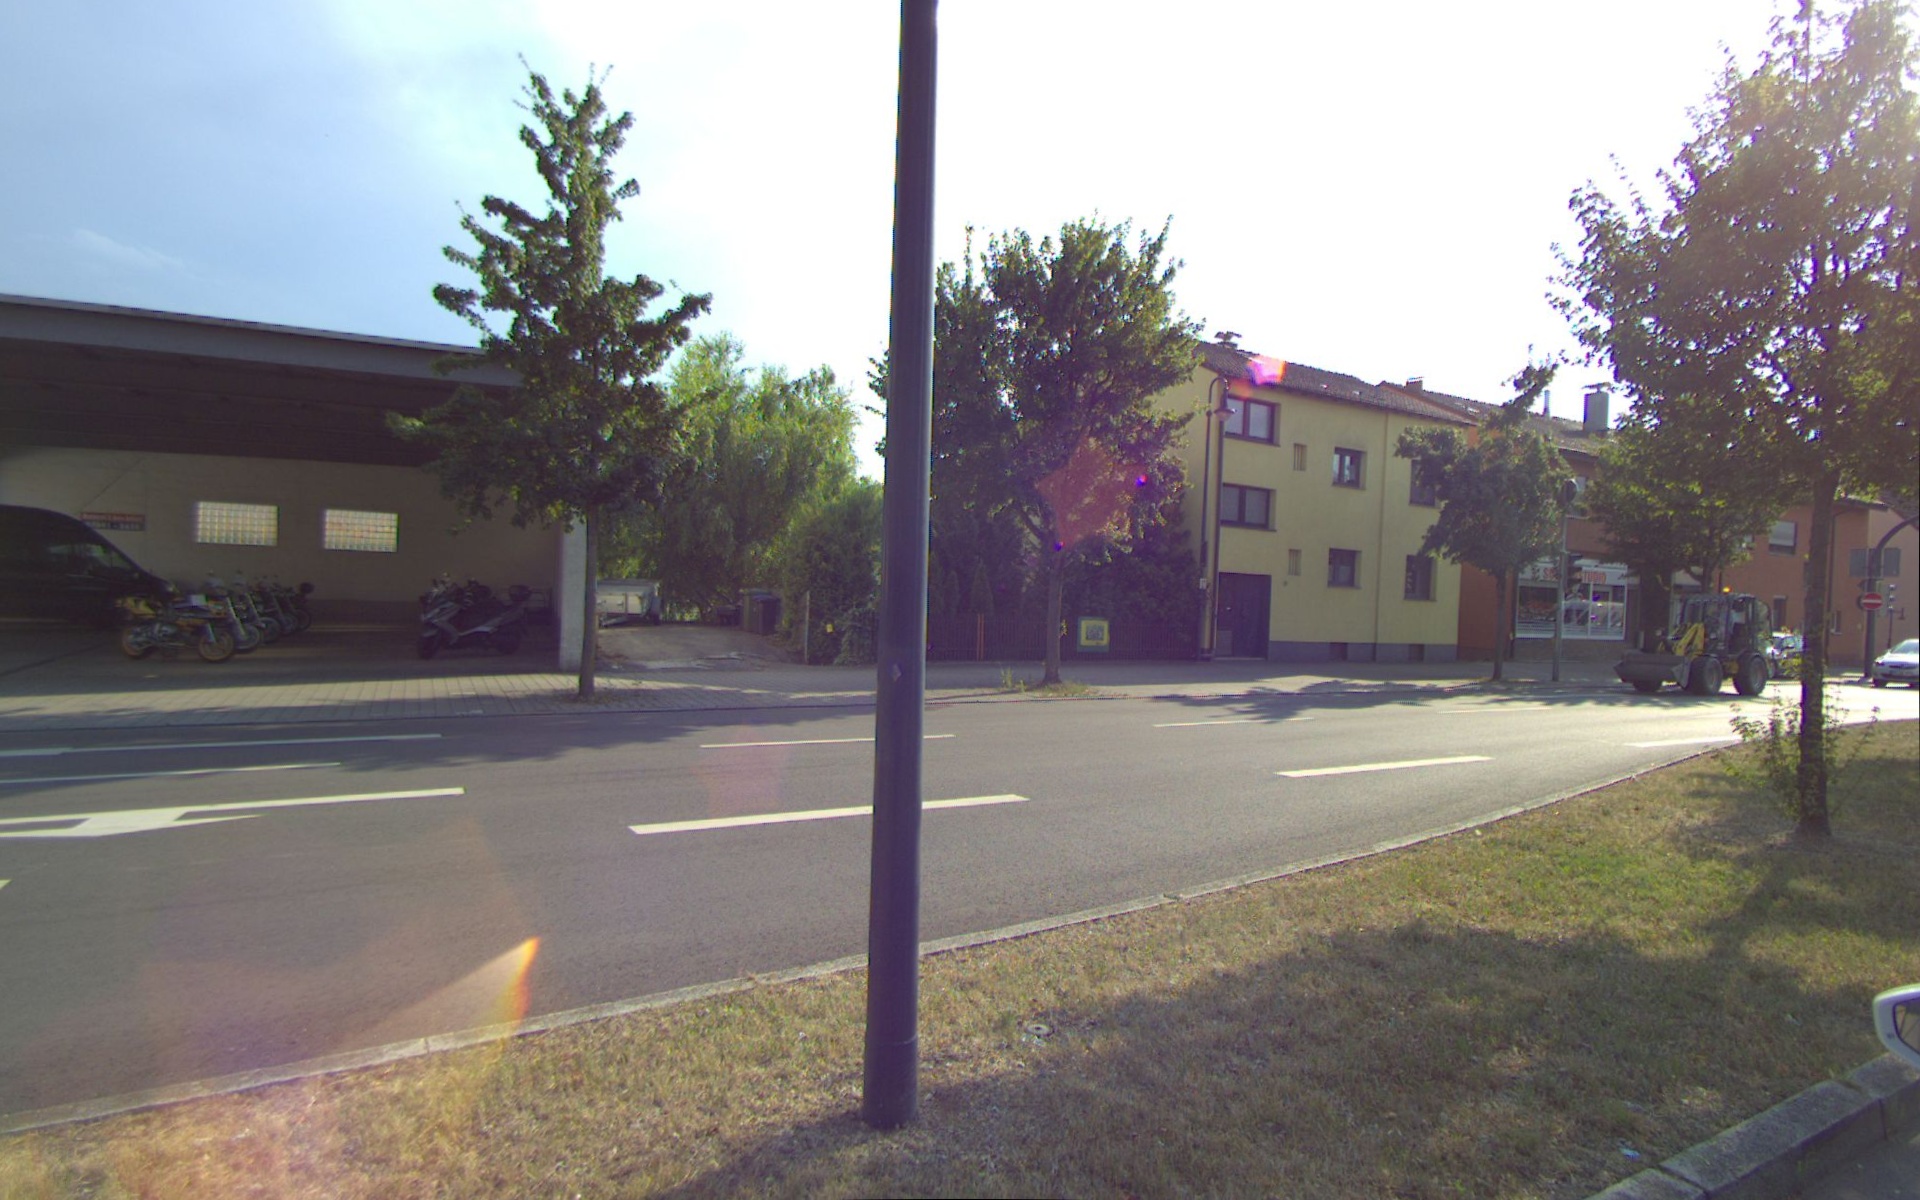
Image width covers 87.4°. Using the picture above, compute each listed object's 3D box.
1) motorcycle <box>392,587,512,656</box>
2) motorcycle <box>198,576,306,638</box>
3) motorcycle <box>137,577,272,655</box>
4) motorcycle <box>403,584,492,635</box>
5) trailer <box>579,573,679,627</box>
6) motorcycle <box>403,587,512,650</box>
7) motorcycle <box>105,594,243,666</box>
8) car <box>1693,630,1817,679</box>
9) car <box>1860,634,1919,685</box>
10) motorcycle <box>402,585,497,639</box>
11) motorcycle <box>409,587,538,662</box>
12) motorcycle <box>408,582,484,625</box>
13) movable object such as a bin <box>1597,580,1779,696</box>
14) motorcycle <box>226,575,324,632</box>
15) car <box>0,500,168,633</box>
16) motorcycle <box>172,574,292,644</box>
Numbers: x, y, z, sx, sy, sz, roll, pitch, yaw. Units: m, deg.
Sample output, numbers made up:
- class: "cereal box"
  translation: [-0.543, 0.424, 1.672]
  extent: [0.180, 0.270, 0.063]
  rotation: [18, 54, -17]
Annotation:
- class: "motorcycle"
  translation: [-10.191, 0.392, 20.231]
  extent: [0.621, 1.314, 2.113]
  rotation: [2, 2, 36]
- class: "motorcycle"
  translation: [-16.261, 0.157, 23.089]
  extent: [2.219, 1.354, 0.631]
  rotation: [2, 0, 10]
- class: "motorcycle"
  translation: [-14.012, 0.293, 18.635]
  extent: [2.219, 1.354, 0.631]
  rotation: [2, 0, 10]
- class: "motorcycle"
  translation: [-13.888, 0.232, 27.292]
  extent: [0.621, 1.314, 2.113]
  rotation: [2, 2, 36]
- class: "trailer"
  translation: [-8.592, 0.002, 26.389]
  extent: [1.698, 1.280, 3.995]
  rotation: [2, 0, -7]
- class: "motorcycle"
  translation: [-11.120, 0.375, 22.309]
  extent: [0.621, 1.314, 2.113]
  rotation: [2, 2, 36]
- class: "motorcycle"
  translation: [-12.877, 0.477, 16.469]
  extent: [1.993, 1.101, 0.631]
  rotation: [2, 0, 12]
- class: "car"
  translation: [25.592, 1.730, 32.307]
  extent: [3.953, 1.319, 1.728]
  rotation: [2, 4, -30]
- class: "car"
  translation: [29.029, 1.800, 30.119]
  extent: [3.750, 1.319, 1.730]
  rotation: [2, 4, -27]
- class: "motorcycle"
  translation: [-13.025, 0.284, 25.694]
  extent: [0.621, 1.314, 2.113]
  rotation: [2, 2, 36]
- class: "motorcycle"
  translation: [-8.999, 0.421, 18.668]
  extent: [0.621, 1.314, 2.113]
  rotation: [2, 2, 36]
- class: "motorcycle"
  translation: [-16.332, 0.095, 31.952]
  extent: [0.621, 1.314, 2.113]
  rotation: [2, 2, 36]
- class: "movable object such as a bin"
  translation: [16.960, 0.883, 23.358]
  extent: [4.396, 2.474, 1.729]
  rotation: [2, -1, -29]
- class: "motorcycle"
  translation: [-17.285, 0.079, 25.348]
  extent: [2.219, 1.354, 0.631]
  rotation: [2, 0, 10]
- class: "car"
  translation: [-20.827, -0.724, 21.870]
  extent: [1.962, 2.789, 5.280]
  rotation: [2, 0, 26]
- class: "motorcycle"
  translation: [-15.131, 0.180, 20.879]
  extent: [2.219, 1.354, 0.631]
  rotation: [2, 0, 10]
